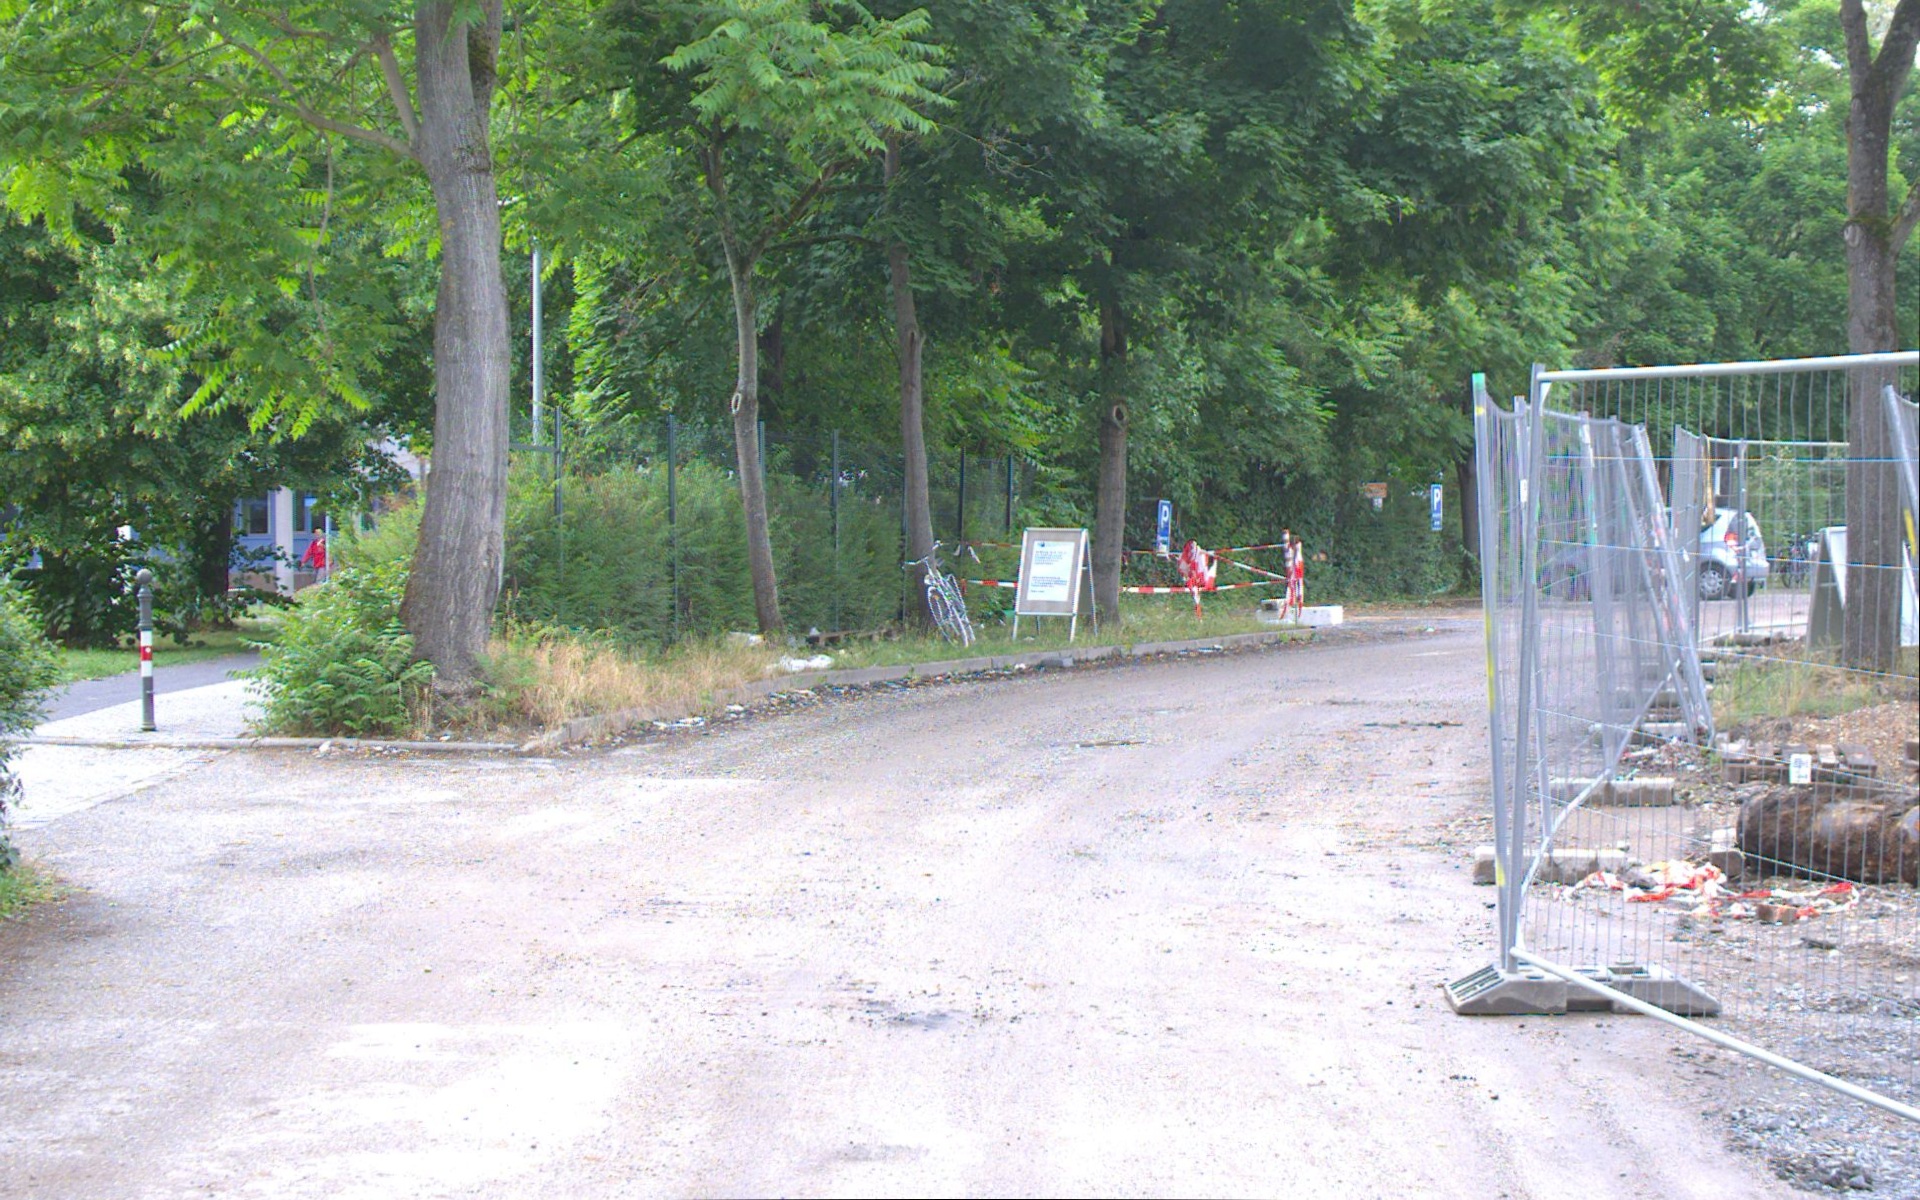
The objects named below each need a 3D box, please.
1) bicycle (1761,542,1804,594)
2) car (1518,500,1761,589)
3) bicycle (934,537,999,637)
[{"bbox_3d":[16.202,-0.640,67.738,0.771,0.974,2.030,0,2,15],"label":"bicycle"},{"bbox_3d":[11.705,-0.980,59.211,3.705,1.495,1.865,1,2,29],"label":"car"},{"bbox_3d":[0.063,-0.131,32.147,0.419,0.902,1.153,0,2,10],"label":"bicycle"}]
